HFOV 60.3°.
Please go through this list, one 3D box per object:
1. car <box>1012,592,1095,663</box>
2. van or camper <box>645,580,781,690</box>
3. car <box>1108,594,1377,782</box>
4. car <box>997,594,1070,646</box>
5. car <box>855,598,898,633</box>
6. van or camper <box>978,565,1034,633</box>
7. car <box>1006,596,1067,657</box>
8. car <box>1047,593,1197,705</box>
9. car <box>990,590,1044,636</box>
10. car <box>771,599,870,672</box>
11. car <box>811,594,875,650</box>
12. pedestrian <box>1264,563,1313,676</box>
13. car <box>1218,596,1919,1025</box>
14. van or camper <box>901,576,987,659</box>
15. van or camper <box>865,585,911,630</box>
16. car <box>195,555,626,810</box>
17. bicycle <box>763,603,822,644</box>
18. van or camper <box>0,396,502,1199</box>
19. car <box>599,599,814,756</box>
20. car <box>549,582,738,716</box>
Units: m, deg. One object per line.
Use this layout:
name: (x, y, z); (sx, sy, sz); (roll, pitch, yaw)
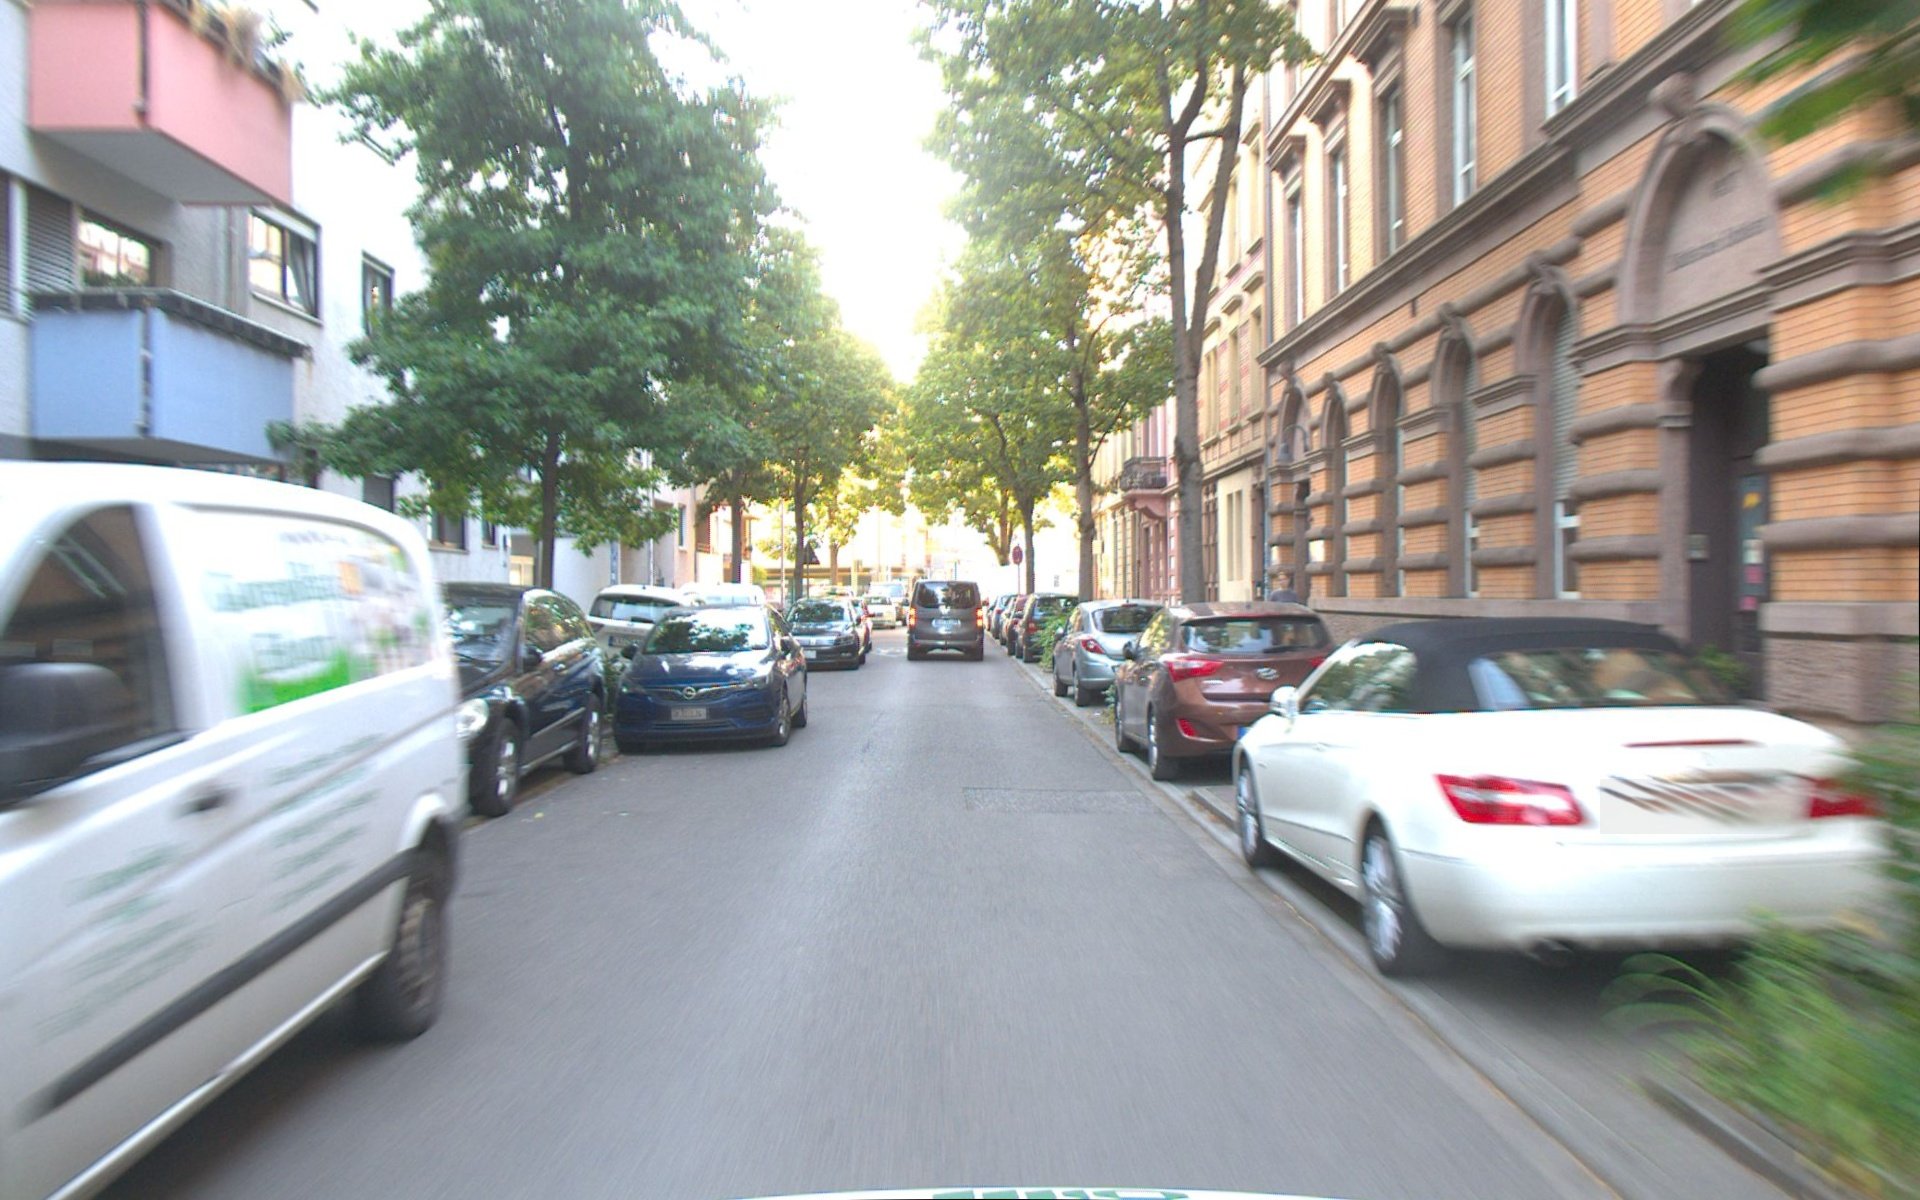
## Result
car: (2.166, 0.616, 39.208); (1.579, 1.586, 3.764); (-1, 0, -2)
van or camper: (-4.495, 0.590, 30.696); (1.892, 1.790, 4.464); (3, 0, -2)
car: (2.444, 0.712, 15.299); (1.687, 1.475, 4.214); (-1, 0, -1)
car: (2.063, 0.543, 47.228); (1.681, 1.428, 3.811); (0, 0, -4)
car: (-3.549, 0.643, 71.009); (1.706, 1.429, 3.374); (-1, 0, -1)
van or camper: (1.828, -0.034, 67.212); (1.953, 2.644, 5.422); (0, 0, -2)
car: (2.003, 0.665, 43.504); (1.518, 1.523, 3.611); (0, 0, 2)
car: (2.376, 0.676, 25.143); (1.663, 1.508, 3.998); (-2, 0, -3)
car: (1.911, 0.415, 56.231); (1.714, 1.497, 3.775); (0, 0, 0)
car: (-2.983, 0.731, 36.207); (1.809, 1.477, 4.502); (1, 0, 0)
car: (-3.196, 0.590, 45.518); (1.597, 1.455, 3.541); (-1, 0, -2)
pedestrian: (4.970, 0.292, 25.047); (0.614, 1.677, 0.532); (1, 0, 0)
car: (2.491, 0.708, 7.964); (1.659, 1.426, 4.645); (-1, 0, -1)
van or camper: (-0.343, 0.408, 40.762); (1.993, 1.931, 4.271); (0, 0, 1)
van or camper: (-3.287, 0.331, 76.117); (1.824, 2.018, 4.271); (-1, 0, 1)
car: (-4.230, 0.561, 13.718); (1.953, 1.675, 4.921); (2, 0, -1)
bicycle: (-5.154, 0.735, 50.959); (0.595, 1.216, 1.816); (2, 1, 44)
van or camper: (-2.671, 0.577, 4.237); (1.839, 1.875, 4.750); (0, 0, -2)
car: (-2.685, 0.768, 18.485); (1.793, 1.544, 4.515); (0, 0, -1)
car: (-4.606, 0.649, 24.777); (1.993, 1.701, 4.646); (3, 0, -2)
